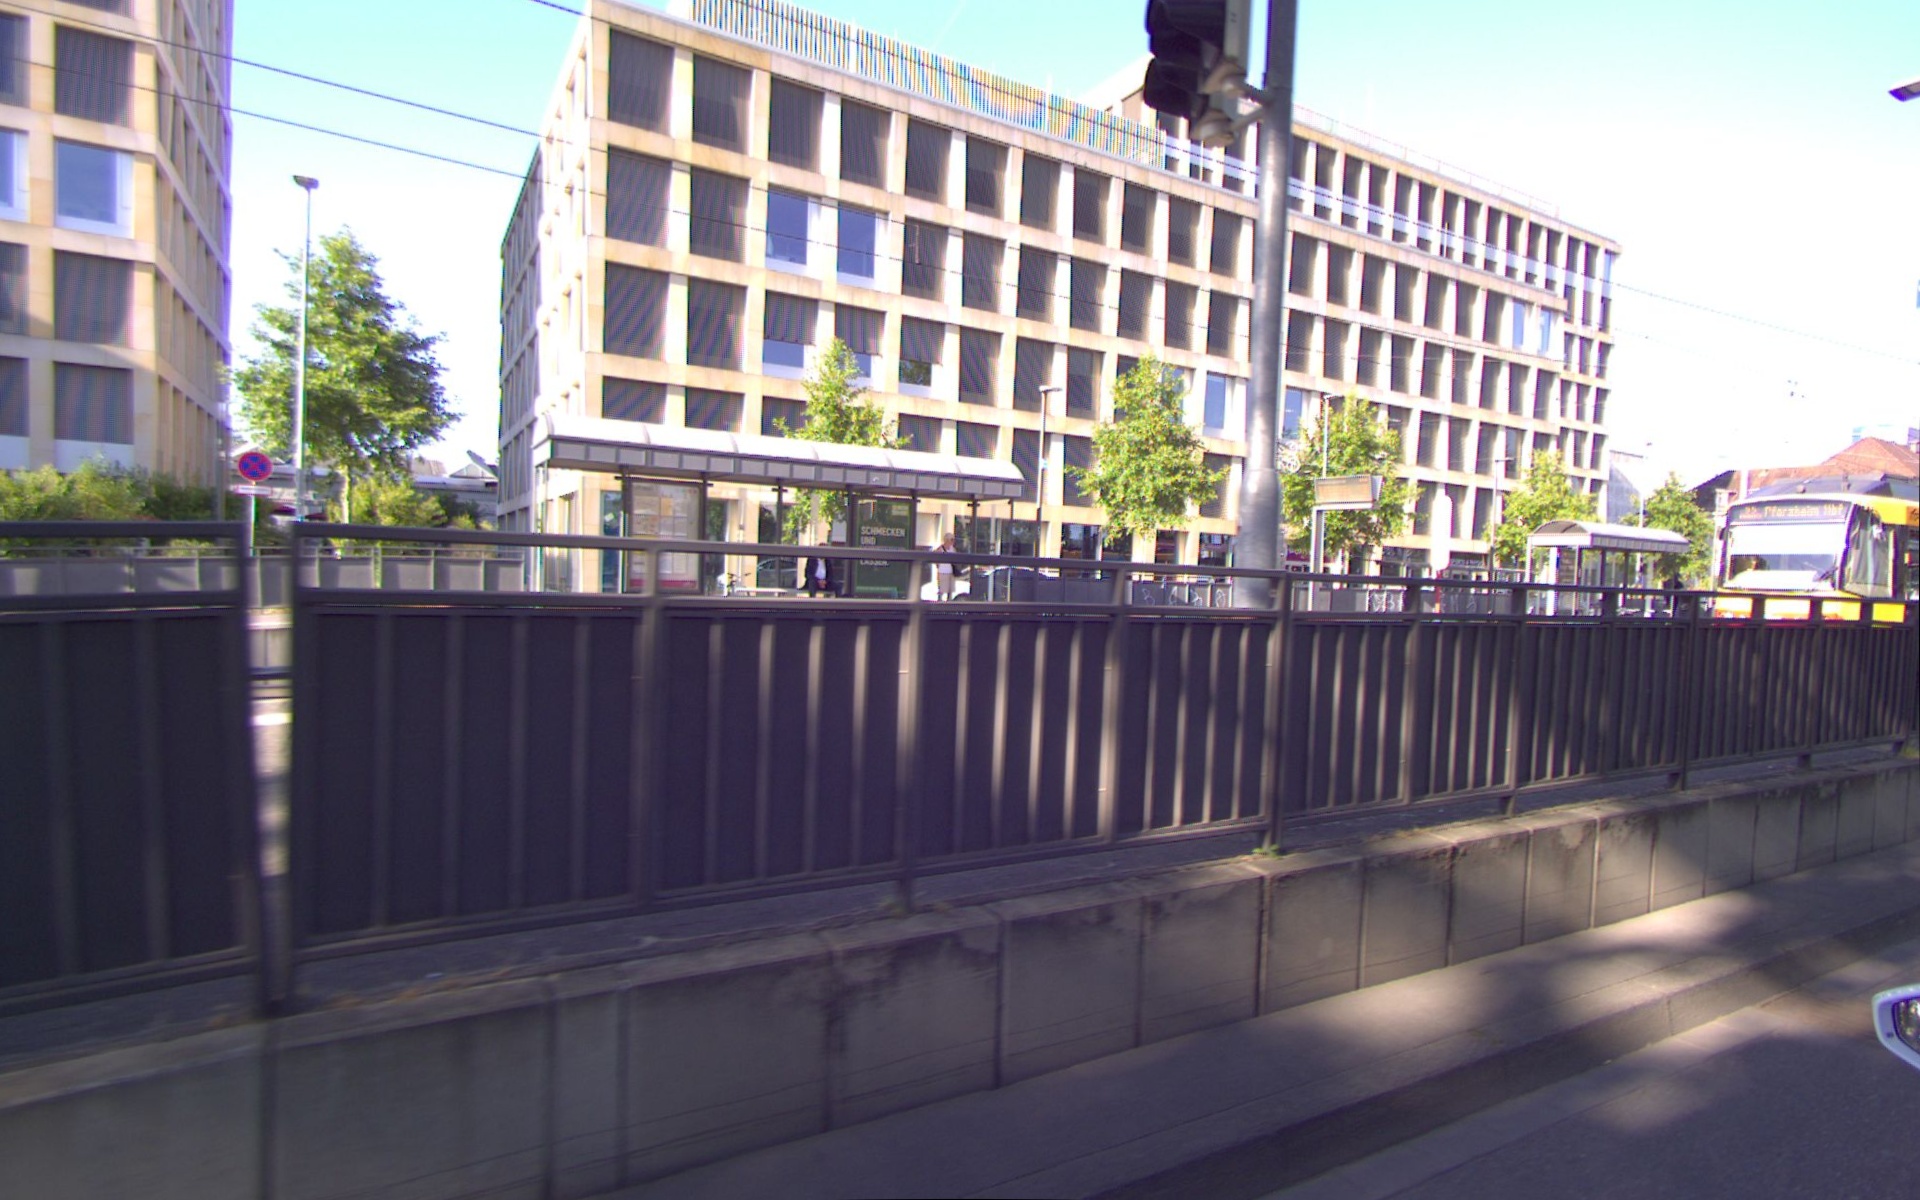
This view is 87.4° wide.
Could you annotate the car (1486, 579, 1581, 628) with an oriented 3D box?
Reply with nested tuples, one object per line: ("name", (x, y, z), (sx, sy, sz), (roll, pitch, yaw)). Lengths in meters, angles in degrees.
("car", (25.401, 0.144, 44.469), (3.956, 2.041, 1.982), (1, 2, -33))

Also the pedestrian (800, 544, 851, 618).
("pedestrian", (-2.396, -0.337, 17.901), (0.715, 1.277, 0.612), (1, 2, -26))

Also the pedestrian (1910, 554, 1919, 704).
("pedestrian", (8.849, 0.147, 8.673), (0.713, 1.569, 0.613), (1, 2, -20))

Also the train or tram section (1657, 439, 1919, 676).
("train or tram section", (20.343, -0.638, 21.432), (14.053, 3.881, 3.292), (1, 2, -31))

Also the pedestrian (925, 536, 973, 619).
("pedestrian", (-0.213, -0.428, 19.253), (0.714, 1.548, 0.613), (1, 2, -22))
